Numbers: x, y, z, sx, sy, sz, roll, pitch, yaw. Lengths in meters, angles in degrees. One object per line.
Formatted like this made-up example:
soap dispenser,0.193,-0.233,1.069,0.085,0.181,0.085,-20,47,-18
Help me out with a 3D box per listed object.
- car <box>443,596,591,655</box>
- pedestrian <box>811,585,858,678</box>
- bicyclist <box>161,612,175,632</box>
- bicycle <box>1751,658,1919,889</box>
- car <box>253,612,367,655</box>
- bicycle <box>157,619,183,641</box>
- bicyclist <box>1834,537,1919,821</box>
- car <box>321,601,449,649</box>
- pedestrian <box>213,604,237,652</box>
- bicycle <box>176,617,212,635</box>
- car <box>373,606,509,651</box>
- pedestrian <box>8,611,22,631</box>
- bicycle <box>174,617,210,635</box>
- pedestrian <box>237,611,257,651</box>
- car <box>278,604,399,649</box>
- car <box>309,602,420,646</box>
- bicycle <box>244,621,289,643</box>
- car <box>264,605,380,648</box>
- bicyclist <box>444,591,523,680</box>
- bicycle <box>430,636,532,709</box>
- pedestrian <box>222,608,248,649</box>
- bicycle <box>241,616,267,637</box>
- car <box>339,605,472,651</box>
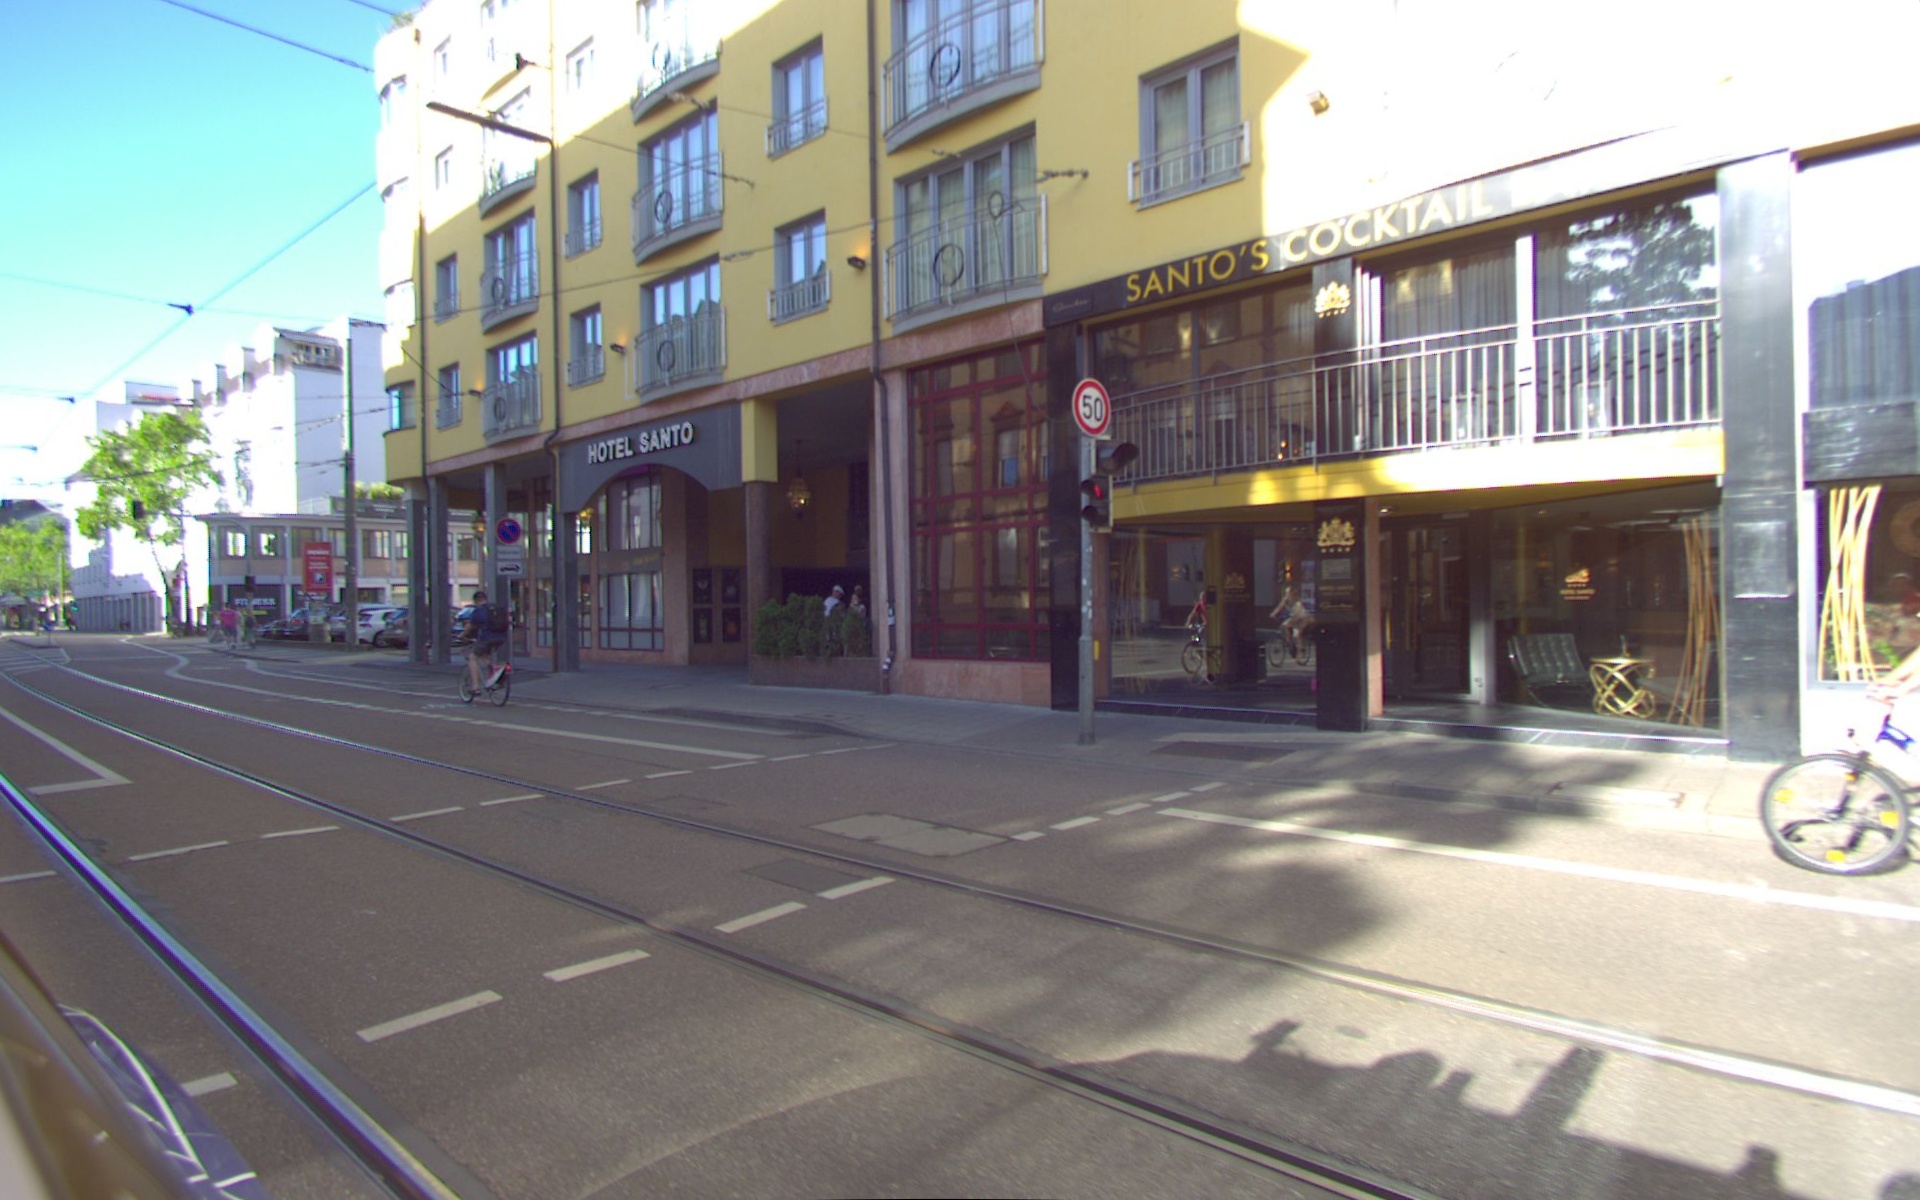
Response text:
car,-14.842,0.826,34.078,1.785,1.825,4.189,-1,0,41
pedestrian,-2.461,0.613,19.856,0.555,1.783,0.723,-1,-1,-44
bicyclist,-60.059,1.685,76.723,0.554,1.370,0.721,2,9,-15
bicycle,5.222,0.868,4.983,2.060,1.073,0.723,-1,0,40
car,-30.856,1.570,48.138,1.784,1.776,4.190,-1,1,41
bicycle,-59.962,2.279,76.810,0.557,1.128,2.011,-14,13,-13
bicyclist,5.270,0.376,4.948,1.467,1.391,0.728,-1,0,40
car,-23.281,0.965,41.074,1.784,1.825,4.189,2,1,41
pedestrian,-30.210,1.144,41.604,0.708,1.961,0.631,-1,0,40
bicycle,-49.855,1.683,65.896,1.850,1.085,0.465,-1,0,-40
car,-19.389,1.017,37.934,1.784,1.560,4.189,2,1,41
pedestrian,-78.533,1.736,84.091,0.747,1.657,0.784,-1,2,43
bicycle,-50.230,1.691,66.229,1.850,1.085,0.465,-1,0,-40
pedestrian,-29.680,1.278,42.121,0.499,1.629,0.566,-1,-1,40
car,-27.219,1.137,44.409,1.785,1.825,4.188,-1,0,42
car,-25.253,0.983,42.978,1.785,1.685,3.651,-1,1,41
bicycle,-35.326,1.635,51.569,1.847,1.044,0.427,-1,0,-24
car,-29.201,1.191,46.408,1.784,1.825,4.189,-1,0,41
bicyclist,-7.809,0.561,16.576,1.227,1.391,0.717,-1,0,40
bicycle,-7.903,1.162,16.649,2.060,1.096,0.723,-1,0,40
pedestrian,-32.421,1.278,45.247,0.778,1.777,0.707,-1,0,34
bicycle,-36.820,1.377,52.795,1.874,1.088,0.459,-1,0,34
car,-21.516,1.064,39.361,1.785,1.621,4.189,-1,0,41
